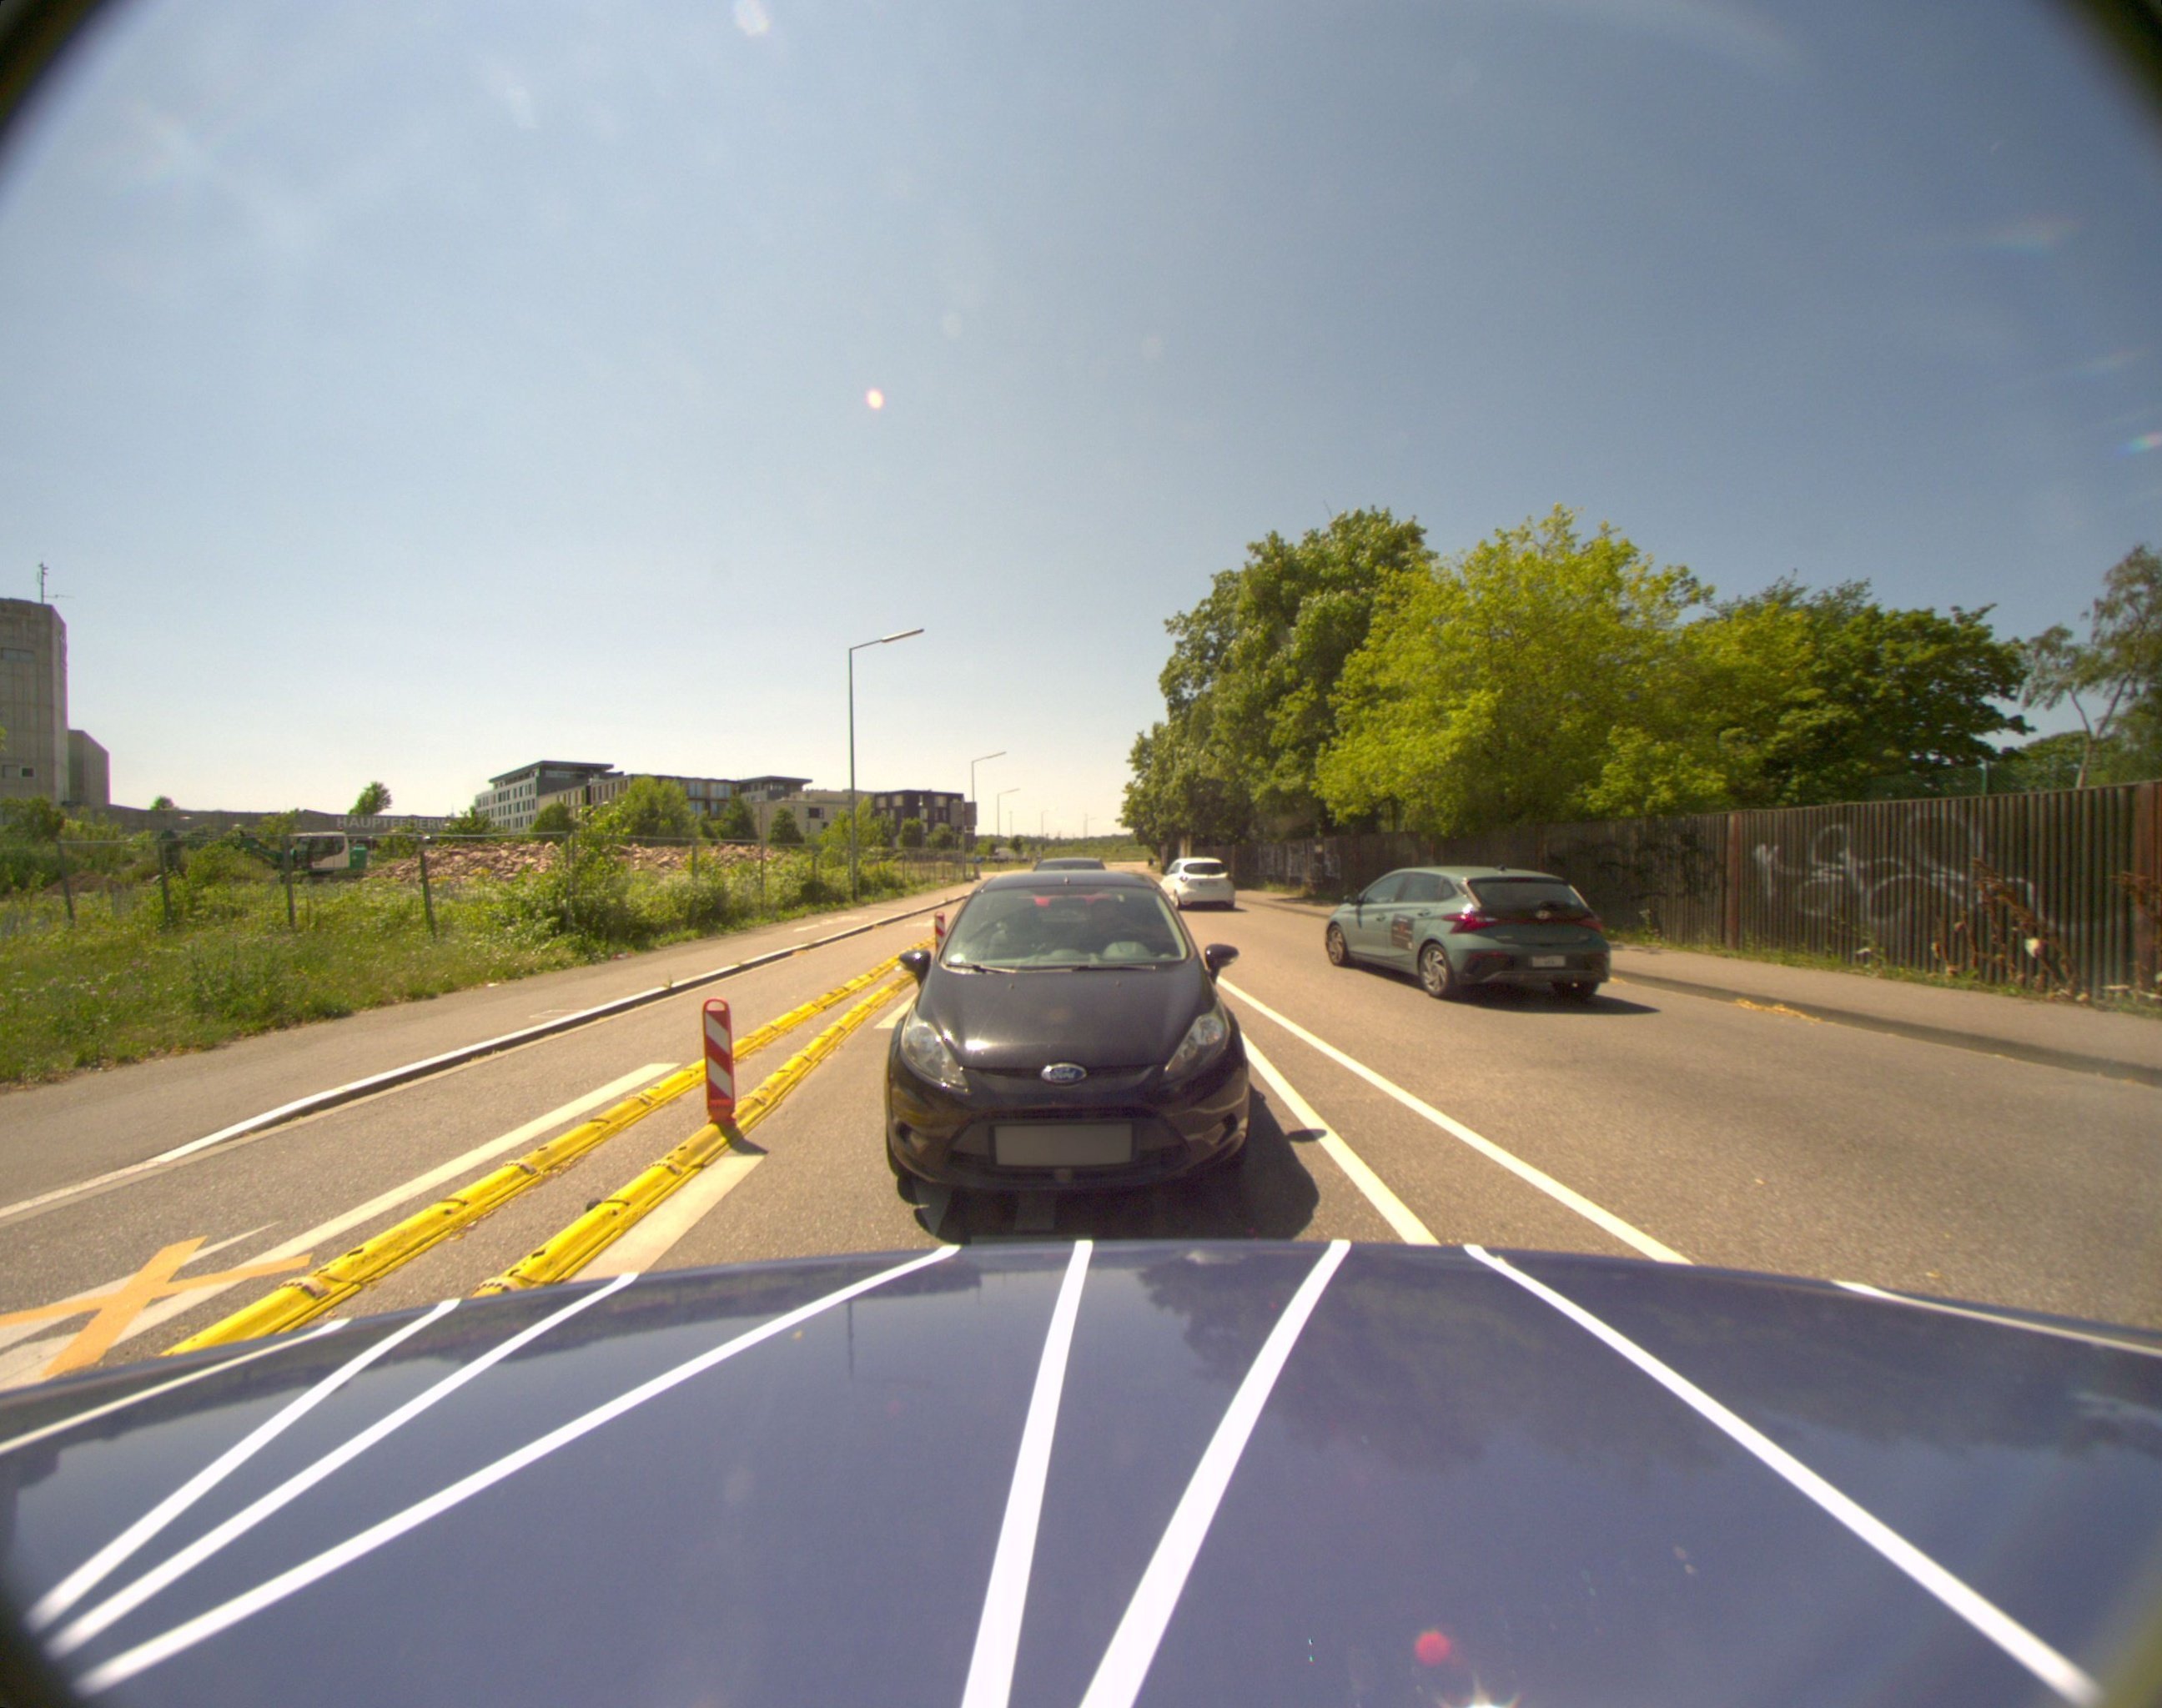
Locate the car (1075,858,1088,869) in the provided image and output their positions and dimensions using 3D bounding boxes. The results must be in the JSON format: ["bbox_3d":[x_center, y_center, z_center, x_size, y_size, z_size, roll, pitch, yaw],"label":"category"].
[{"bbox_3d":[0.099,1.422,109.797,1.759,1.536,3.693,-1,0,-2],"label":"car"}]

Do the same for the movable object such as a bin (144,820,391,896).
[{"bbox_3d":[-37.997,0.128,36.023,2.810,3.131,7.608,-2,1,8],"label":"movable object such as a bin"}]

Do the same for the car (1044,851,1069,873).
[{"bbox_3d":[-1.821,0.576,55.661,1.759,1.536,3.693,-1,0,-2],"label":"car"}]

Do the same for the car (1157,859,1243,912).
[{"bbox_3d":[3.576,0.911,23.479,1.759,1.477,3.692,-1,0,-5],"label":"car"}]

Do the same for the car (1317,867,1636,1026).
[{"bbox_3d":[4.502,0.935,9.350,1.759,1.477,3.692,-1,0,-5],"label":"car"}]

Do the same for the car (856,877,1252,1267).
[{"bbox_3d":[-0.087,0.969,5.073,1.632,1.499,3.819,-1,0,1],"label":"car"}]

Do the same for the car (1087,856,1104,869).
[{"bbox_3d":[1.699,1.011,90.689,1.759,1.536,3.693,-1,0,-2],"label":"car"}]

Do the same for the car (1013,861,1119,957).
[{"bbox_3d":[-0.212,0.910,14.501,1.720,1.518,4.212,-1,0,1],"label":"car"}]
